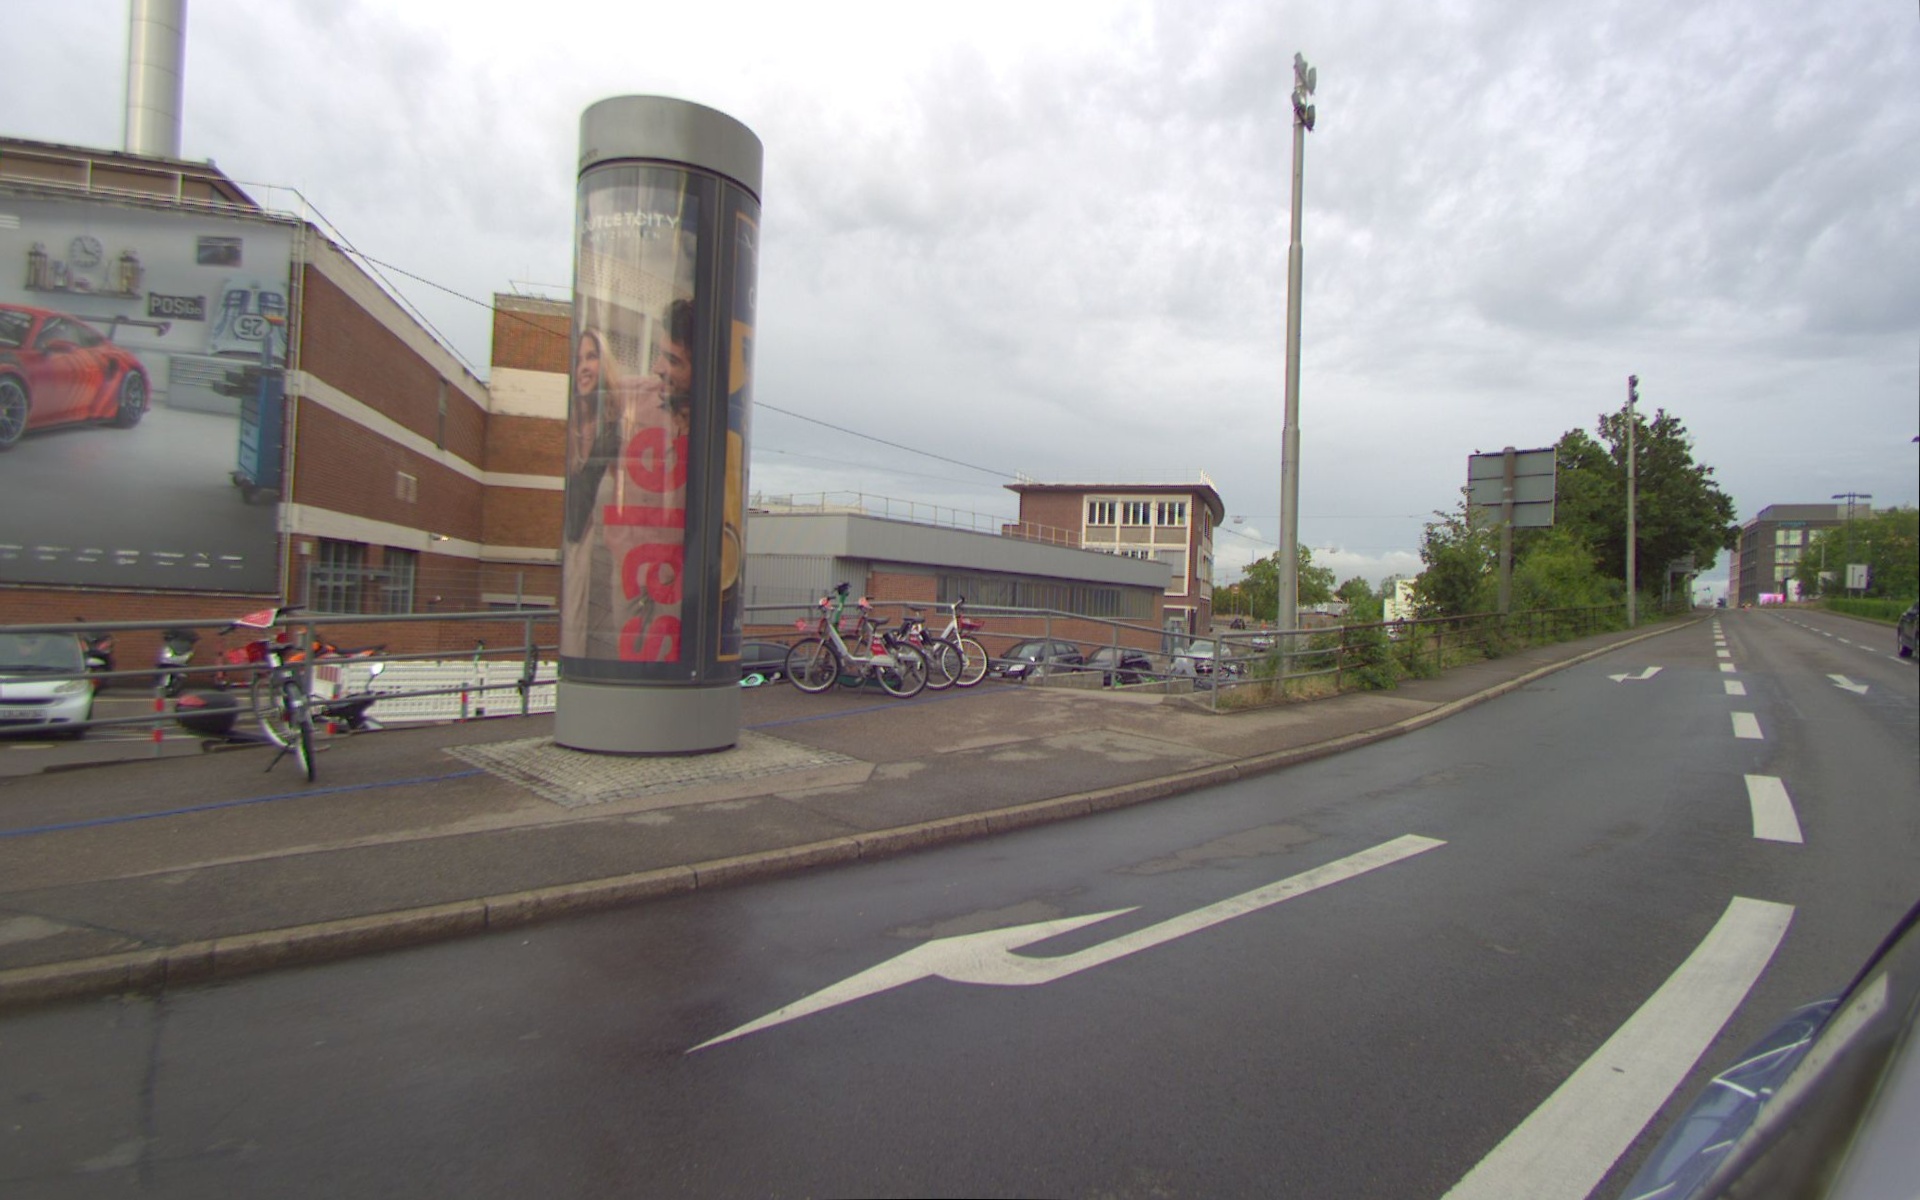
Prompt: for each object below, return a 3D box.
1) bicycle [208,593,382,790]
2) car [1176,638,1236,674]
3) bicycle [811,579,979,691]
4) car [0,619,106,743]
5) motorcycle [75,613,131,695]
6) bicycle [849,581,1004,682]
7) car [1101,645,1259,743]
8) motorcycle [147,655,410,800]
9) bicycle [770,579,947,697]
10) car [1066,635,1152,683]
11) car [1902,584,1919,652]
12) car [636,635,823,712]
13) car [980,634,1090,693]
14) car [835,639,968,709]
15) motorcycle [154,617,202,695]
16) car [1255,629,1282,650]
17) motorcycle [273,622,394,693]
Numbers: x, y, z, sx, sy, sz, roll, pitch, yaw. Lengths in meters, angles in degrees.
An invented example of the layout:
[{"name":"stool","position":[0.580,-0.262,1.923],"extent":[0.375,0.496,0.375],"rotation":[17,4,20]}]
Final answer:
[{"name":"bicycle","position":[-4.764,0.572,7.199],"extent":[1.799,1.176,0.583],"rotation":[3,2,41]},{"name":"car","position":[12.356,2.760,50.650],"extent":[1.692,1.574,3.809],"rotation":[1,1,35]},{"name":"bicycle","position":[-0.766,0.394,12.112],"extent":[1.900,1.239,0.598],"rotation":[1,1,8]},{"name":"car","position":[-13.848,1.125,15.050],"extent":[1.663,1.500,3.557],"rotation":[4,-1,-40]},{"name":"motorcycle","position":[-16.149,0.986,19.101],"extent":[0.675,1.325,2.022],"rotation":[3,2,-38]},{"name":"bicycle","position":[-0.437,0.371,12.960],"extent":[1.910,1.192,0.595],"rotation":[2,1,23]},{"name":"car","position":[4.504,1.796,20.399],"extent":[1.694,1.574,3.805],"rotation":[1,1,37]},{"name":"motorcycle","position":[-5.759,1.028,8.643],"extent":[0.696,1.002,1.726],"rotation":[1,0,38]},{"name":"bicycle","position":[-1.140,0.408,11.482],"extent":[1.901,1.239,0.598],"rotation":[2,1,10]},{"name":"car","position":[5.784,2.231,38.936],"extent":[1.694,1.574,3.805],"rotation":[1,1,37]},{"name":"car","position":[23.280,0.450,23.217],"extent":[1.830,1.603,4.235],"rotation":[1,1,35]},{"name":"car","position":[-5.334,1.682,23.923],"extent":[1.694,1.630,4.204],"rotation":[-1,-3,37]},{"name":"car","position":[2.595,2.081,34.200],"extent":[1.629,1.652,4.371],"rotation":[1,1,37]},{"name":"car","position":[-1.598,2.048,28.964],"extent":[1.694,1.648,3.878],"rotation":[1,1,37]},{"name":"motorcycle","position":[-15.224,1.066,19.729],"extent":[0.562,1.325,1.873],"rotation":[3,2,-34]},{"name":"car","position":[23.363,2.936,76.583],"extent":[1.648,1.413,3.971],"rotation":[0,0,21]},{"name":"motorcycle","position":[-12.880,1.186,20.880],"extent":[1.943,1.325,0.932],"rotation":[3,1,-24]}]
